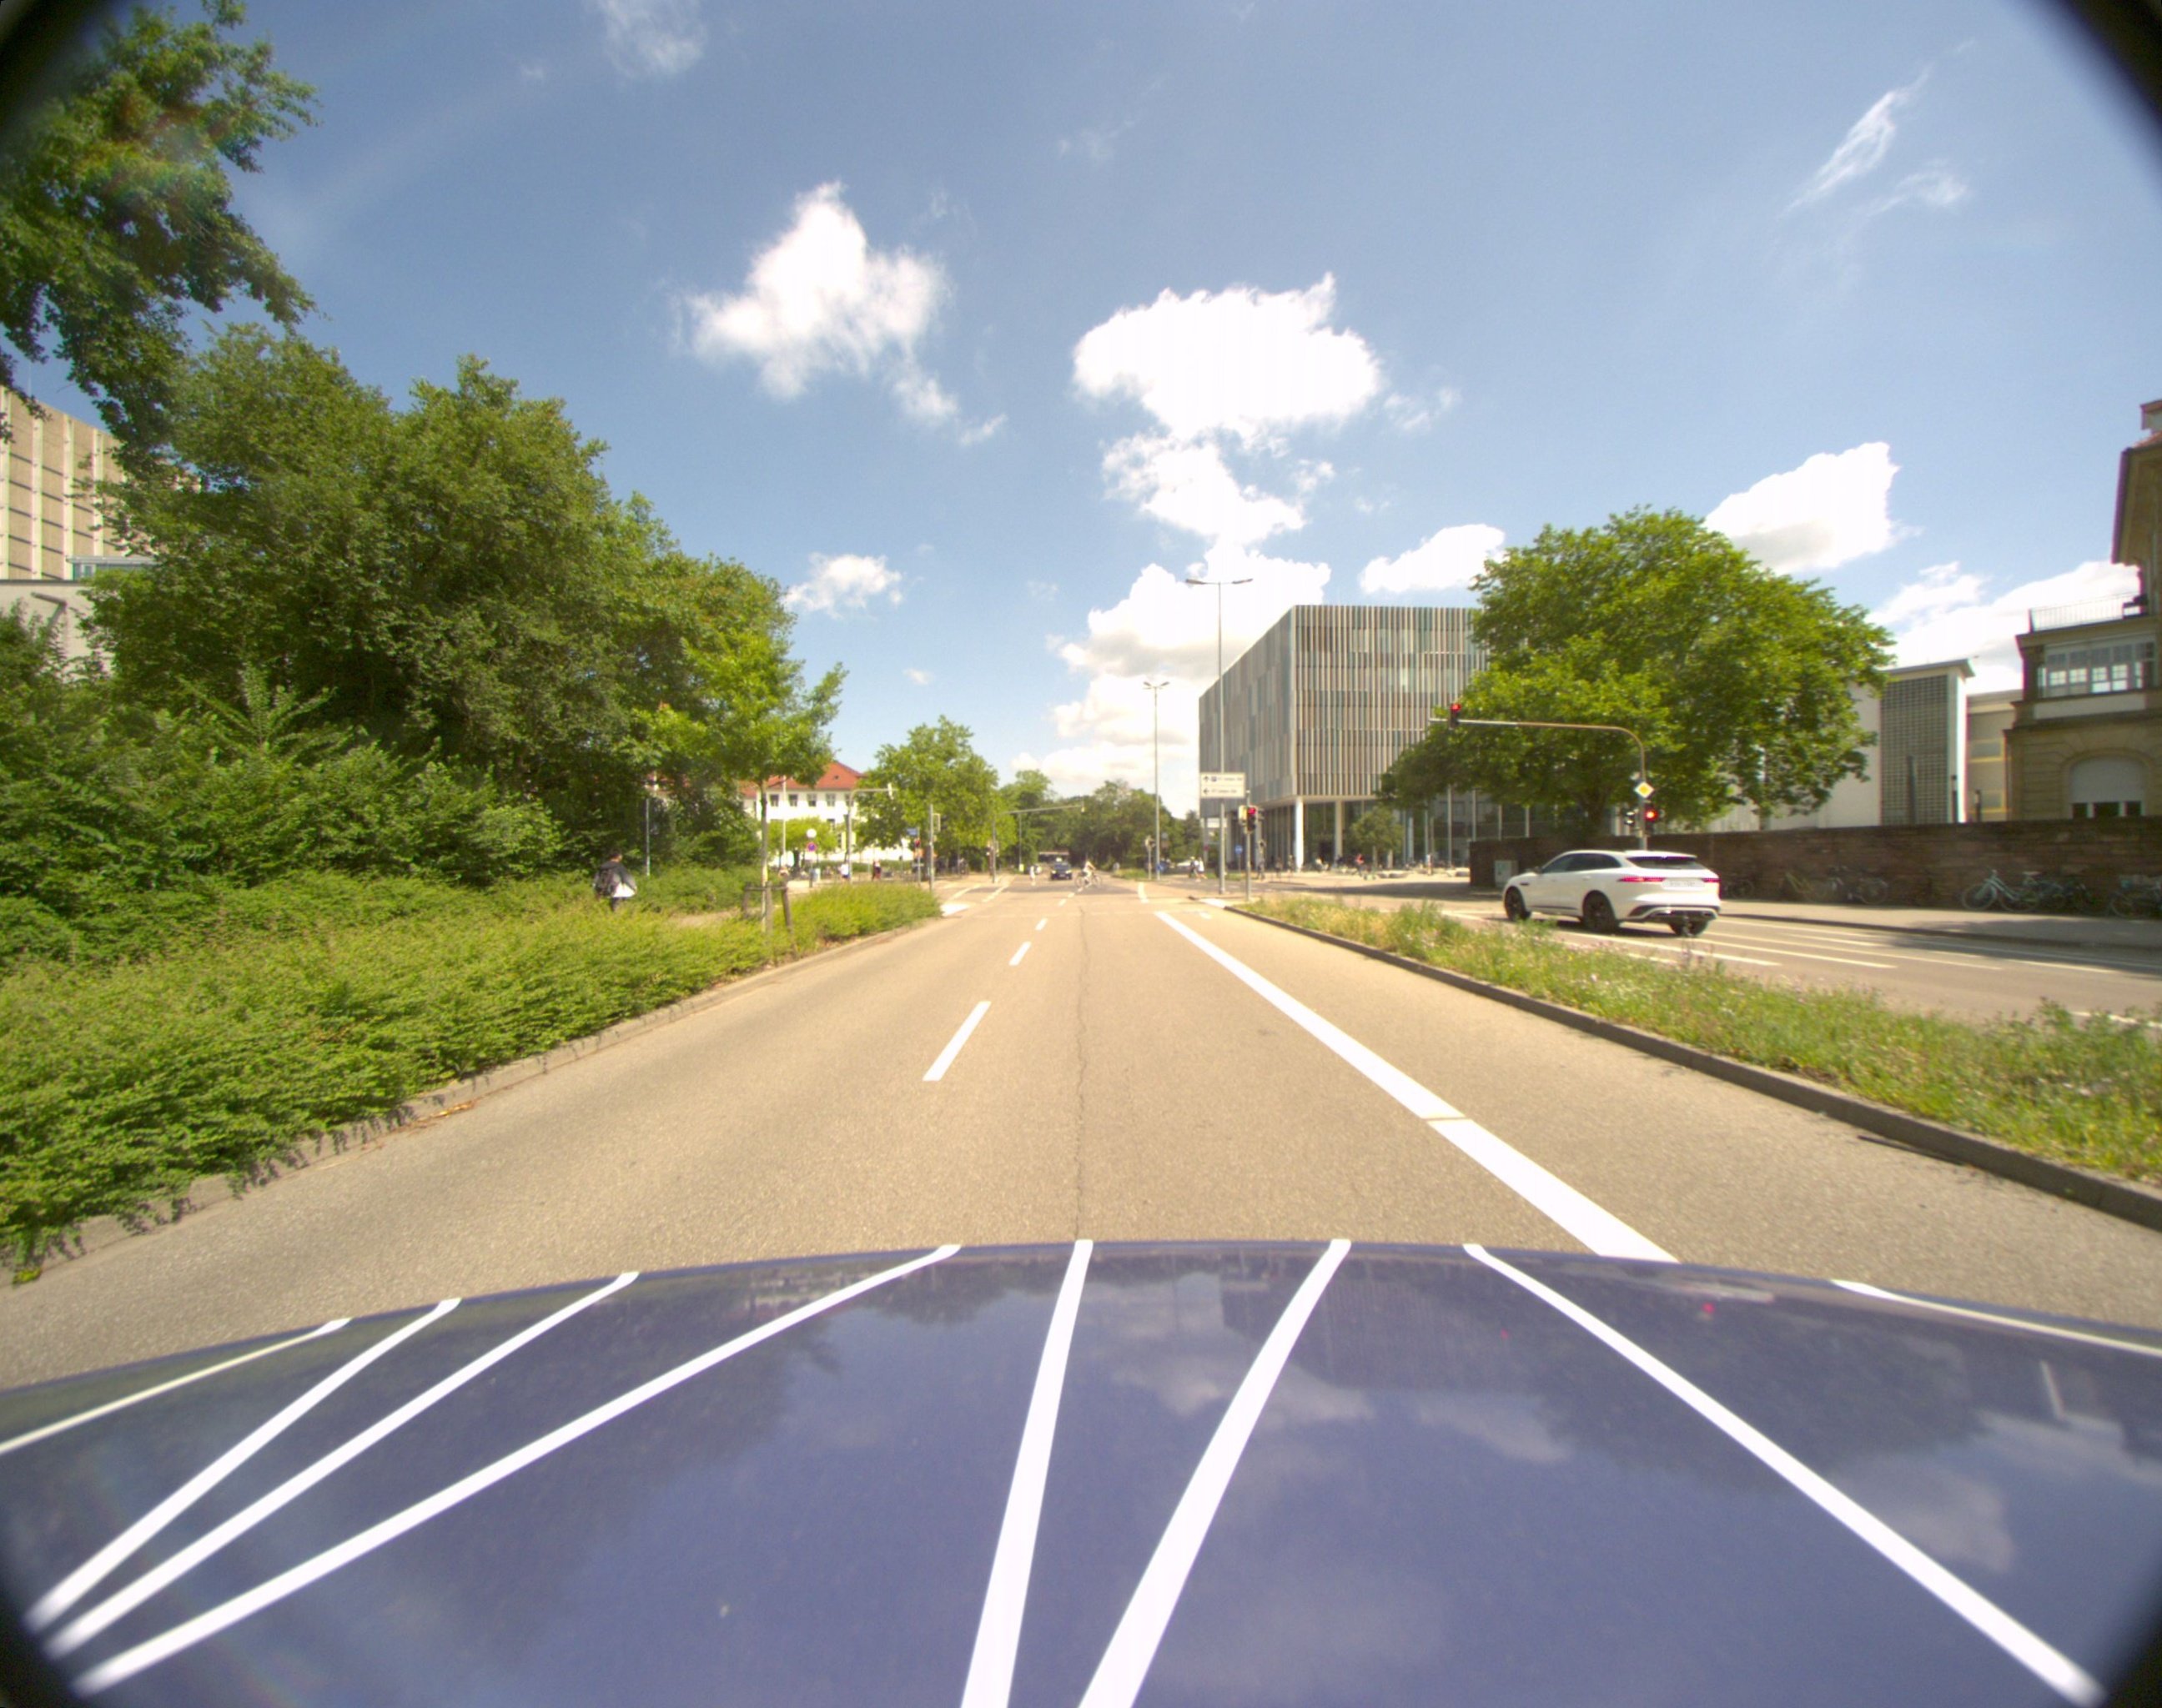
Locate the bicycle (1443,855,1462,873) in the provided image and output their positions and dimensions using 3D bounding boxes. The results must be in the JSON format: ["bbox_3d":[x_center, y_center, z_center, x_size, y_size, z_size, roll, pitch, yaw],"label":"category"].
[{"bbox_3d":[33.535,0.888,68.531,0.997,1.543,3.422,0,0,36],"label":"bicycle"}]

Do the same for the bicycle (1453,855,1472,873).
[{"bbox_3d":[33.611,0.871,66.927,0.997,1.543,3.422,0,0,36],"label":"bicycle"}]

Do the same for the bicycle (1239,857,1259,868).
[{"bbox_3d":[21.908,1.121,98.968,2.451,1.486,0.621,-1,0,0],"label":"bicycle"}]

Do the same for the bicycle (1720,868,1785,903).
[{"bbox_3d":[21.824,1.002,24.743,0.573,1.092,1.593,-1,0,-9],"label":"bicycle"}]

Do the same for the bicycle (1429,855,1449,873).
[{"bbox_3d":[32.624,0.896,69.218,0.997,1.543,3.422,0,0,36],"label":"bicycle"}]

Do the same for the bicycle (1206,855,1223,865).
[{"bbox_3d":[20.809,0.934,118.509,2.511,1.486,0.621,-1,0,0],"label":"bicycle"}]

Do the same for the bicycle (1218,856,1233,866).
[{"bbox_3d":[21.304,0.994,112.078,2.071,1.486,0.621,-1,0,0],"label":"bicycle"}]

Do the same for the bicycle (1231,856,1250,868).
[{"bbox_3d":[21.544,1.086,102.649,2.511,1.486,0.621,-1,0,0],"label":"bicycle"}]

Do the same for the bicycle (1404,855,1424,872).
[{"bbox_3d":[31.064,0.895,70.837,0.997,1.543,3.422,0,0,36],"label":"bicycle"}]

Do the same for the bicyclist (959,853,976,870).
[{"bbox_3d":[-9.906,0.675,66.308,0.974,1.436,1.074,-1,1,-37],"label":"bicyclist"}]

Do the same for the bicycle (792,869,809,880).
[{"bbox_3d":[-25.120,1.808,67.966,1.371,0.945,0.352,-1,0,-6],"label":"bicycle"}]

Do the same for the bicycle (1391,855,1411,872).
[{"bbox_3d":[30.370,0.891,72.011,0.997,1.543,3.422,0,0,36],"label":"bicycle"}]

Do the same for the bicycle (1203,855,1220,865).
[{"bbox_3d":[20.539,0.927,119.436,2.511,1.486,0.621,-1,0,0],"label":"bicycle"}]

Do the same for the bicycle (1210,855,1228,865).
[{"bbox_3d":[20.843,0.973,114.634,2.511,1.486,0.621,-1,0,0],"label":"bicycle"}]

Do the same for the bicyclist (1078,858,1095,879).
[{"bbox_3d":[0.292,0.865,44.549,0.834,1.219,0.618,-1,0,-18],"label":"bicyclist"}]

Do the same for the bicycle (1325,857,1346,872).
[{"bbox_3d":[25.706,1.020,76.691,0.930,1.485,2.693,0,0,44],"label":"bicycle"}]

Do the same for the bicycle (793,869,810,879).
[{"bbox_3d":[-25.236,1.800,68.531,1.371,0.941,0.352,-1,0,-6],"label":"bicycle"}]

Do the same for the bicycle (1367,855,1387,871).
[{"bbox_3d":[28.738,0.886,73.788,0.997,1.543,3.422,0,0,36],"label":"bicycle"}]

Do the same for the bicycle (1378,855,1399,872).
[{"bbox_3d":[29.530,0.887,72.920,0.997,1.543,3.422,0,0,36],"label":"bicycle"}]

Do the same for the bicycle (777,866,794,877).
[{"bbox_3d":[-27.056,1.567,69.487,1.371,0.995,0.352,-1,0,-6],"label":"bicycle"}]

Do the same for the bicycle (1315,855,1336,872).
[{"bbox_3d":[24.926,0.952,77.410,0.808,1.634,3.422,0,0,41],"label":"bicycle"}]

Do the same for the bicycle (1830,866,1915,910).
[{"bbox_3d":[22.234,0.932,21.380,0.623,1.145,1.593,-1,0,-9],"label":"bicycle"}]

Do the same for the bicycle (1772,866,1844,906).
[{"bbox_3d":[22.070,0.947,23.099,0.500,1.145,1.593,-1,0,-9],"label":"bicycle"}]

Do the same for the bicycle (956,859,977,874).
[{"bbox_3d":[-10.044,1.084,66.519,0.887,1.244,2.159,-1,0,-37],"label":"bicycle"}]

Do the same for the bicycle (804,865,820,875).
[{"bbox_3d":[-24.813,1.478,70.091,1.371,0.945,0.352,-1,0,-6],"label":"bicycle"}]

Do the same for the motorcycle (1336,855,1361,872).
[{"bbox_3d":[26.687,0.913,75.755,0.969,1.630,3.305,0,0,44],"label":"motorcycle"}]

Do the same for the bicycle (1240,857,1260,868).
[{"bbox_3d":[22.177,1.106,99.978,2.509,1.486,0.730,-1,0,9],"label":"bicycle"}]

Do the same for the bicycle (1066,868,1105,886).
[{"bbox_3d":[0.268,1.364,44.459,2.165,0.992,0.646,-1,0,-18],"label":"bicycle"}]

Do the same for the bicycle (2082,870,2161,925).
[{"bbox_3d":[22.677,0.914,16.206,0.403,1.145,1.590,-1,0,-33],"label":"bicycle"}]

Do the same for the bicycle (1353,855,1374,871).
[{"bbox_3d":[27.823,0.883,74.810,1.049,1.543,3.422,0,0,36],"label":"bicycle"}]
